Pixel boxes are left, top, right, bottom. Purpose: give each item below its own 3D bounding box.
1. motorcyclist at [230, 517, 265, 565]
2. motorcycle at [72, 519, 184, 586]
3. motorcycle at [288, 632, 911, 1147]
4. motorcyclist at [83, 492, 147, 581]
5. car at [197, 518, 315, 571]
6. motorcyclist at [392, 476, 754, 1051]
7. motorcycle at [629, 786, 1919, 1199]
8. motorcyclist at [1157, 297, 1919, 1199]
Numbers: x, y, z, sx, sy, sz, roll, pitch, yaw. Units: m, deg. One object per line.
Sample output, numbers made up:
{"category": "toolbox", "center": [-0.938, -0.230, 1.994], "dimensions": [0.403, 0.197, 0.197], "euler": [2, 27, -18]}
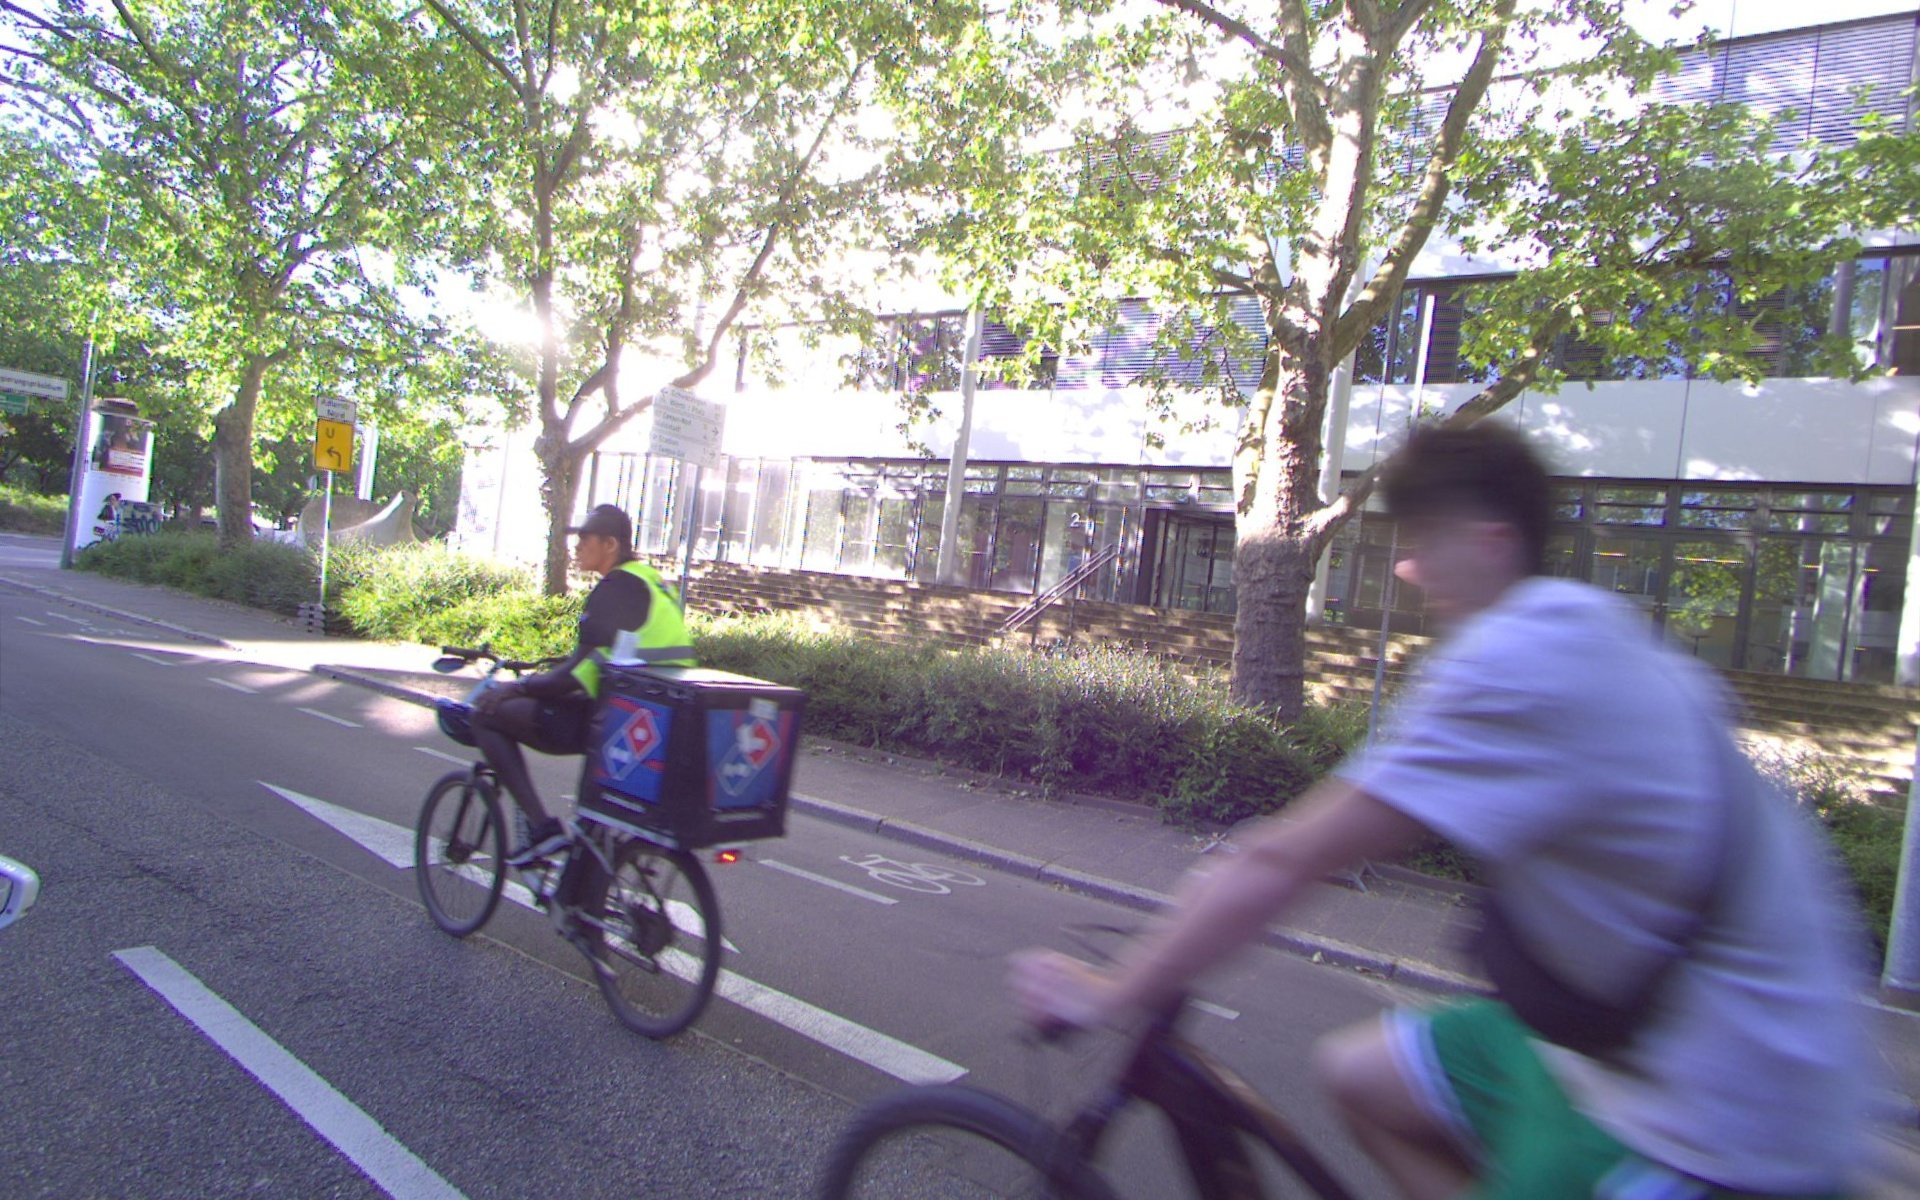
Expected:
{"category": "motorcyclist", "center": [-30.307, -2.513, 42.805], "dimensions": [0.370, 1.899, 0.983], "euler": [6, -1, 36]}
{"category": "motorcycle", "center": [-19.213, -1.092, 23.271], "dimensions": [0.712, 1.257, 1.782], "euler": [6, -2, 37]}
{"category": "motorcycle", "center": [-1.367, 0.833, 3.613], "dimensions": [2.199, 1.145, 0.798], "euler": [6, -2, 32]}
{"category": "motorcyclist", "center": [-19.340, -1.446, 23.023], "dimensions": [0.662, 1.885, 0.823], "euler": [6, -1, 37]}
{"category": "car", "center": [-32.688, -2.562, 46.812], "dimensions": [1.708, 1.792, 3.996], "euler": [7, -1, 30]}
{"category": "motorcyclist", "center": [-1.365, 0.512, 3.605], "dimensions": [0.738, 1.763, 0.718], "euler": [6, -1, 31]}
{"category": "motorcycle", "center": [0.561, 1.020, 1.236], "dimensions": [1.897, 1.182, 0.864], "euler": [6, -2, 32]}
{"category": "motorcyclist", "center": [0.772, 0.719, 1.084], "dimensions": [0.898, 1.809, 0.832], "euler": [6, -1, 31]}
